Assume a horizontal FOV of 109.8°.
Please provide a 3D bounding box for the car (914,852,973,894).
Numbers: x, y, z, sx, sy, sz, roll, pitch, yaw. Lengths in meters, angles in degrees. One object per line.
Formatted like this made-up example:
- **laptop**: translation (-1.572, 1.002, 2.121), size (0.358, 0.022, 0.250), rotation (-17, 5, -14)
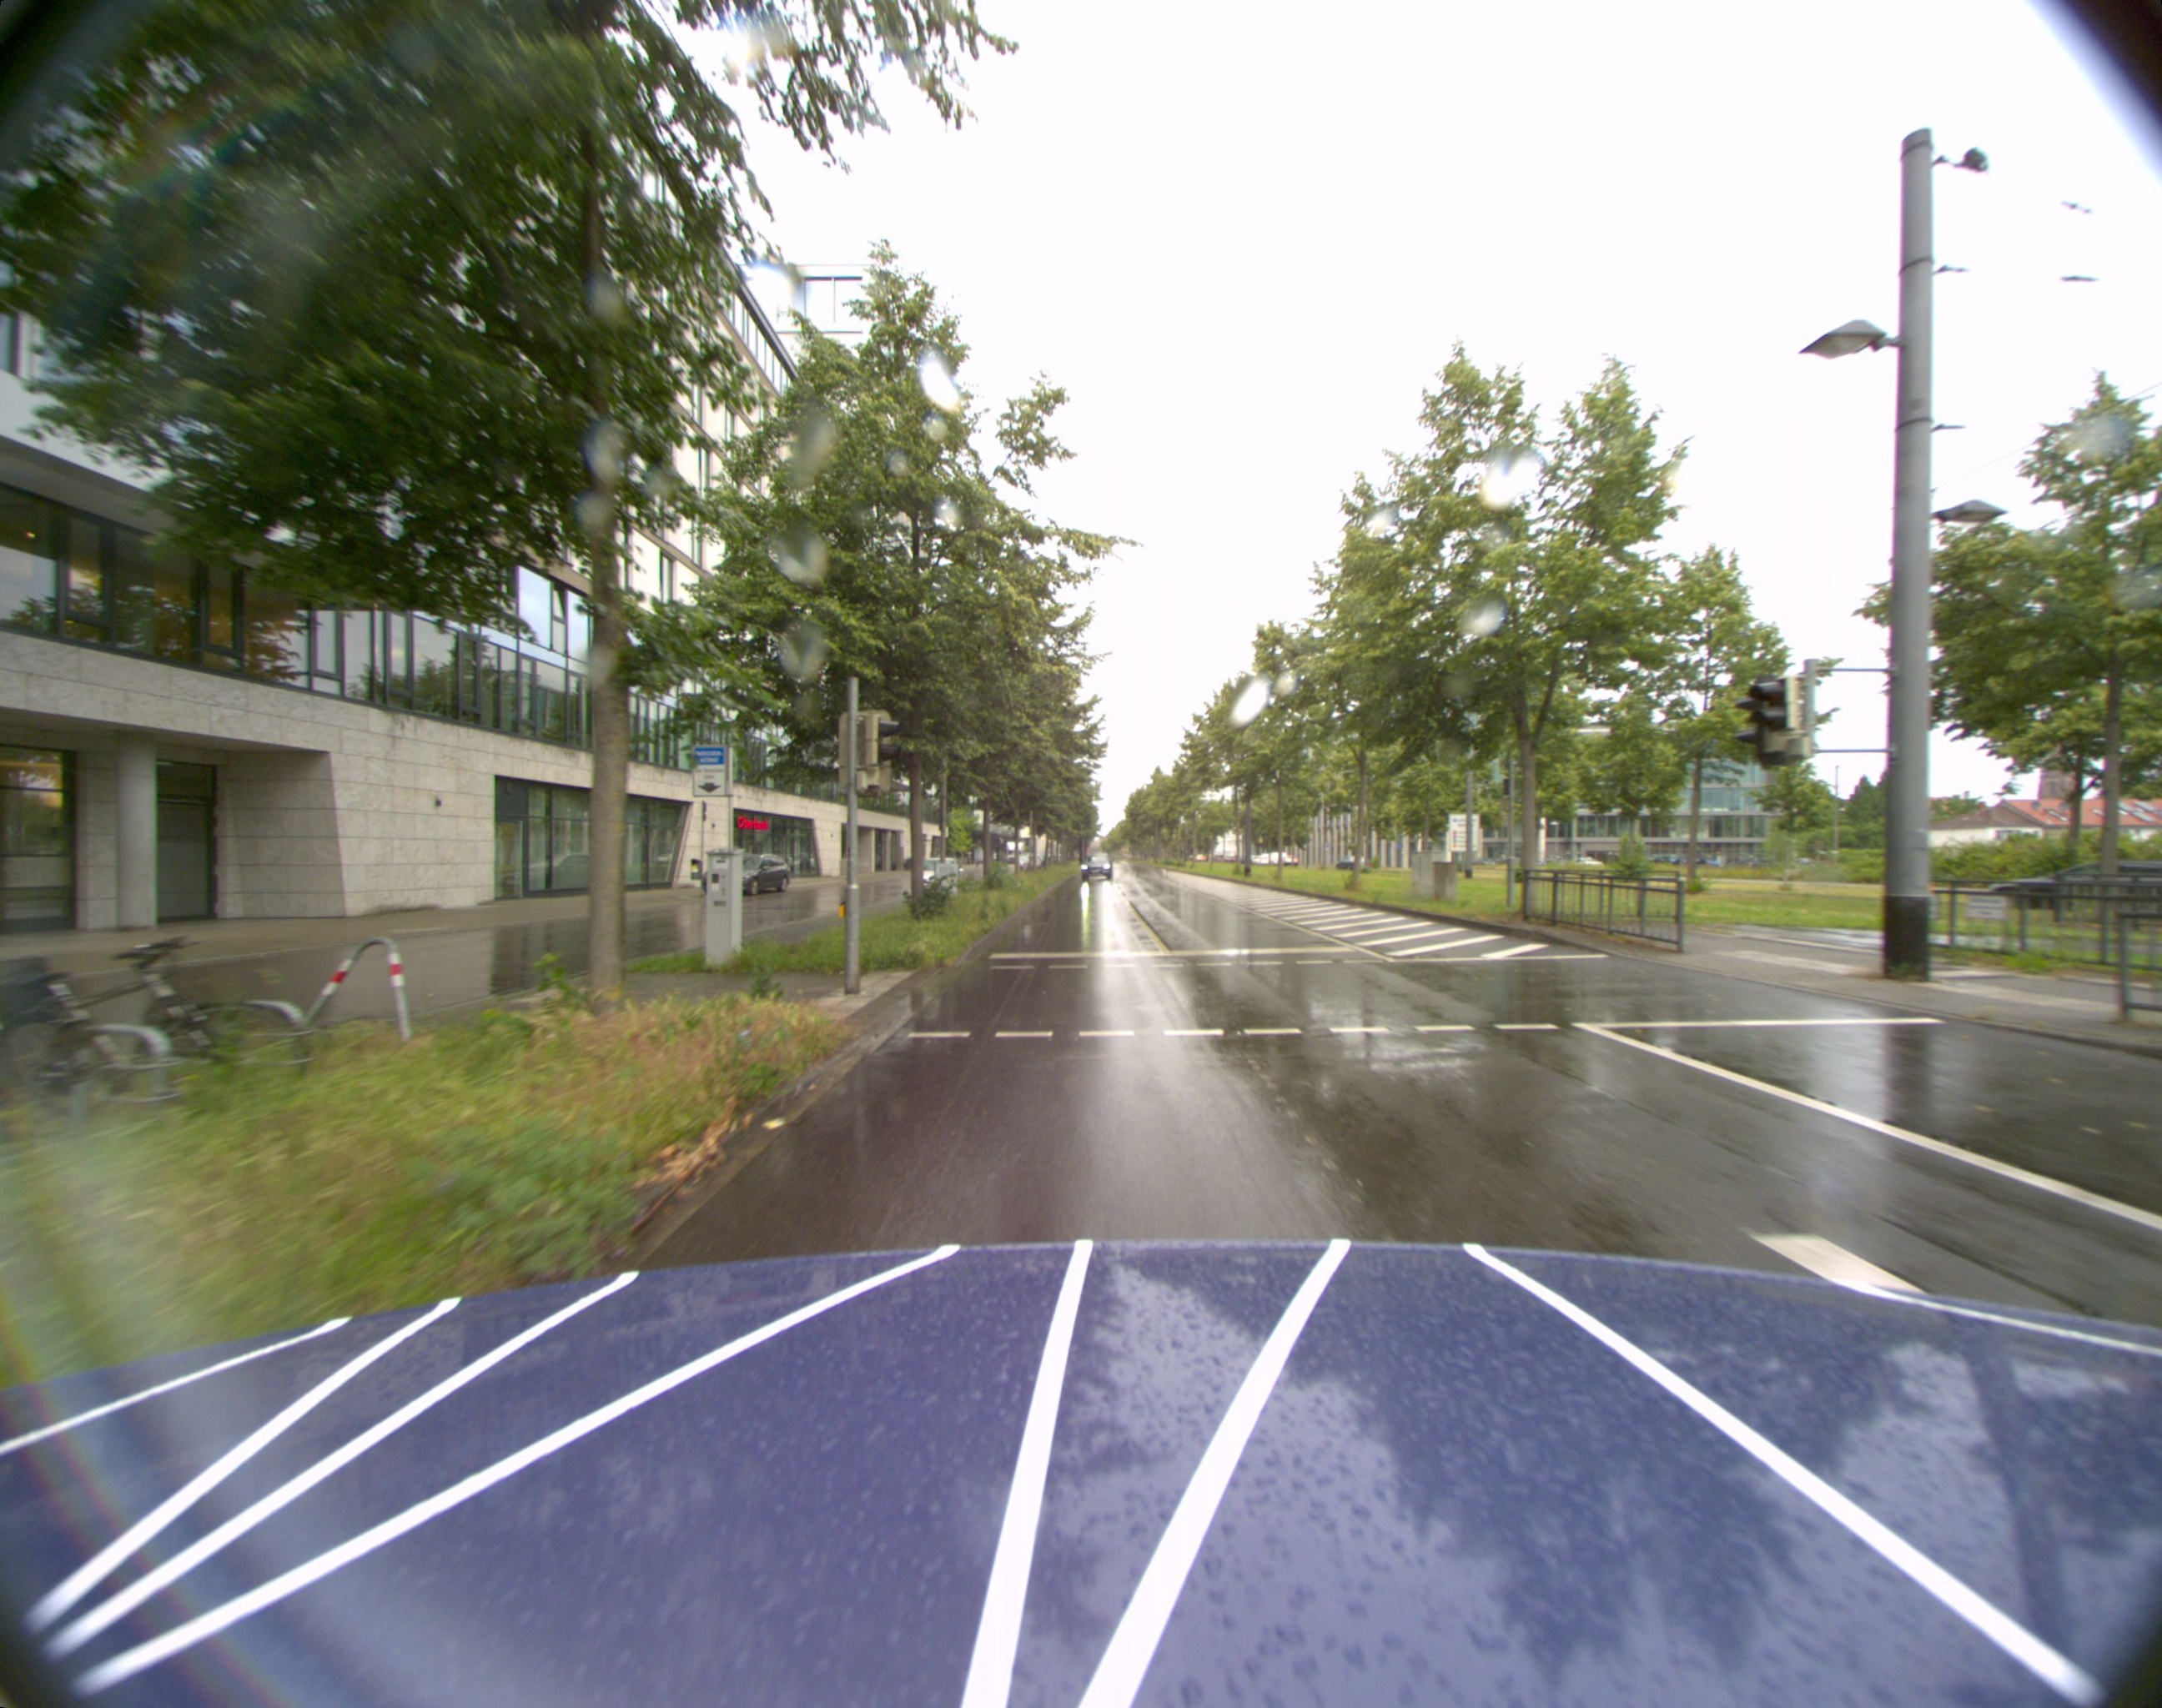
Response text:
- **car**: translation (-5.301, 0.759, 29.813), size (1.887, 1.497, 4.722), rotation (0, -2, -6)

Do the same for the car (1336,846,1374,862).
- **car**: translation (23.610, -0.030, 65.661), size (1.492, 1.290, 4.975), rotation (0, 2, 1)

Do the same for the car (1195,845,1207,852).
- **car**: translation (25.037, -1.118, 158.554), size (1.955, 1.444, 4.575), rotation (-1, 1, 1)

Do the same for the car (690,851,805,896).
- **car**: translation (-12.455, 0.704, 28.795), size (1.998, 1.492, 5.034), rotation (2, 0, 1)

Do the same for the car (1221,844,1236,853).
- **car**: translation (27.645, -1.034, 142.847), size (1.955, 1.377, 4.606), rotation (0, -2, 0)

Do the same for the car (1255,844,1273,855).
- **car**: translation (27.528, -0.624, 114.470), size (1.955, 1.452, 4.834), rotation (0, -2, 5)

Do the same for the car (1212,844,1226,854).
- **car**: translation (27.817, -0.957, 153.290), size (1.955, 1.837, 4.544), rotation (0, -1, 1)

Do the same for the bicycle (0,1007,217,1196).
- **bicycle**: translation (-5.187, 1.247, 3.899), size (1.291, 0.853, 0.275), rotation (0, 1, 6)

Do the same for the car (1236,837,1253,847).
- **car**: translation (28.240, -2.029, 131.205), size (1.956, 1.485, 3.963), rotation (0, -2, -1)

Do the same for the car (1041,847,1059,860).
- **car**: translation (-3.872, -0.100, 93.719), size (1.962, 1.504, 4.479), rotation (0, 1, -5)

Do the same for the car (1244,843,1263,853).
- **car**: translation (27.609, -1.007, 121.631), size (1.955, 1.504, 4.575), rotation (-1, 1, 1)

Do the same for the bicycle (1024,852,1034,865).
- **bicycle**: translation (-3.435, 0.324, 50.339), size (0.343, 0.817, 1.903), rotation (0, -2, 4)

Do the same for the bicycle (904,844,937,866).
- **bicycle**: translation (-13.837, 0.064, 65.535), size (2.685, 1.850, 0.707), rotation (0, 1, 6)

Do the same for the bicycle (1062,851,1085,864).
- **bicycle**: translation (-0.652, 0.312, 66.979), size (2.040, 1.190, 0.491), rotation (0, 2, 1)

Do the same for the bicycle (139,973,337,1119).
- **bicycle**: translation (-5.662, 1.266, 5.103), size (1.290, 0.844, 0.275), rotation (0, 1, 12)

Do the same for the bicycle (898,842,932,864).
- **bicycle**: translation (-13.947, -0.118, 63.995), size (2.685, 1.850, 0.707), rotation (0, 1, 6)

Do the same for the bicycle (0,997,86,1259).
- **bicycle**: translation (-5.264, 1.206, 3.470), size (1.291, 1.068, 0.275), rotation (0, 1, 9)

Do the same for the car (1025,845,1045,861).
- **car**: translation (-4.250, -0.085, 70.129), size (1.629, 1.482, 3.656), rotation (0, 0, 0)

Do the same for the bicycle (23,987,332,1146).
- **bicycle**: translation (-5.437, 1.260, 4.586), size (1.675, 0.844, 0.275), rotation (0, 1, 5)

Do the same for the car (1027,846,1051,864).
- **car**: translation (-4.092, 0.110, 74.853), size (1.998, 1.659, 4.725), rotation (0, -2, 1)

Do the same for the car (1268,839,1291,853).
- **car**: translation (30.633, -1.187, 117.304), size (2.273, 1.994, 5.375), rotation (0, -2, 2)

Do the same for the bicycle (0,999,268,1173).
- **bicycle**: translation (-5.263, 1.268, 4.222), size (1.291, 0.844, 0.275), rotation (0, 1, 6)

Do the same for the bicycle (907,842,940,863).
- **bicycle**: translation (-13.751, -0.114, 66.309), size (2.685, 1.850, 0.707), rotation (0, 1, 6)

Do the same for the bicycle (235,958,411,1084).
- **bicycle**: translation (-5.730, 1.241, 5.740), size (1.290, 0.827, 0.275), rotation (0, 1, 12)

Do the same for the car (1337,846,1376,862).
- **car**: translation (23.597, 0.015, 65.253), size (1.553, 1.258, 4.852), rotation (0, -1, -1)

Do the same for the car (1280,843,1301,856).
- **car**: translation (30.092, -0.626, 109.222), size (1.955, 1.739, 4.577), rotation (-1, 1, 4)

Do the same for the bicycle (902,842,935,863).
- **bicycle**: translation (-13.864, -0.129, 64.739), size (2.685, 1.850, 0.707), rotation (0, 1, 6)

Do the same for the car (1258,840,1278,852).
- **car**: translation (30.669, -1.299, 125.053), size (1.956, 1.642, 5.030), rotation (0, -2, -1)

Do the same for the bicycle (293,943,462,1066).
- **bicycle**: translation (-5.652, 1.187, 6.105), size (1.290, 0.869, 0.301), rotation (0, 1, 12)

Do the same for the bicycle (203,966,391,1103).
- **bicycle**: translation (-5.574, 1.261, 5.402), size (1.290, 0.844, 0.275), rotation (0, 1, 12)

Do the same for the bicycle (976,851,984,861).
- **bicycle**: translation (-11.354, 0.261, 85.733), size (0.519, 1.124, 2.065), rotation (0, 1, 4)

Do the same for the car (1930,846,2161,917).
- **car**: translation (25.748, 0.613, 19.368), size (1.956, 1.598, 5.499), rotation (0, 1, -1)

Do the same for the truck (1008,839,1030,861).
- **truck**: translation (-10.008, -0.710, 123.356), size (3.032, 3.421, 8.545), rotation (-1, 1, -2)

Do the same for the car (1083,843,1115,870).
- **car**: translation (1.185, 0.140, 48.373), size (1.928, 1.651, 4.716), rotation (1, 1, 2)
